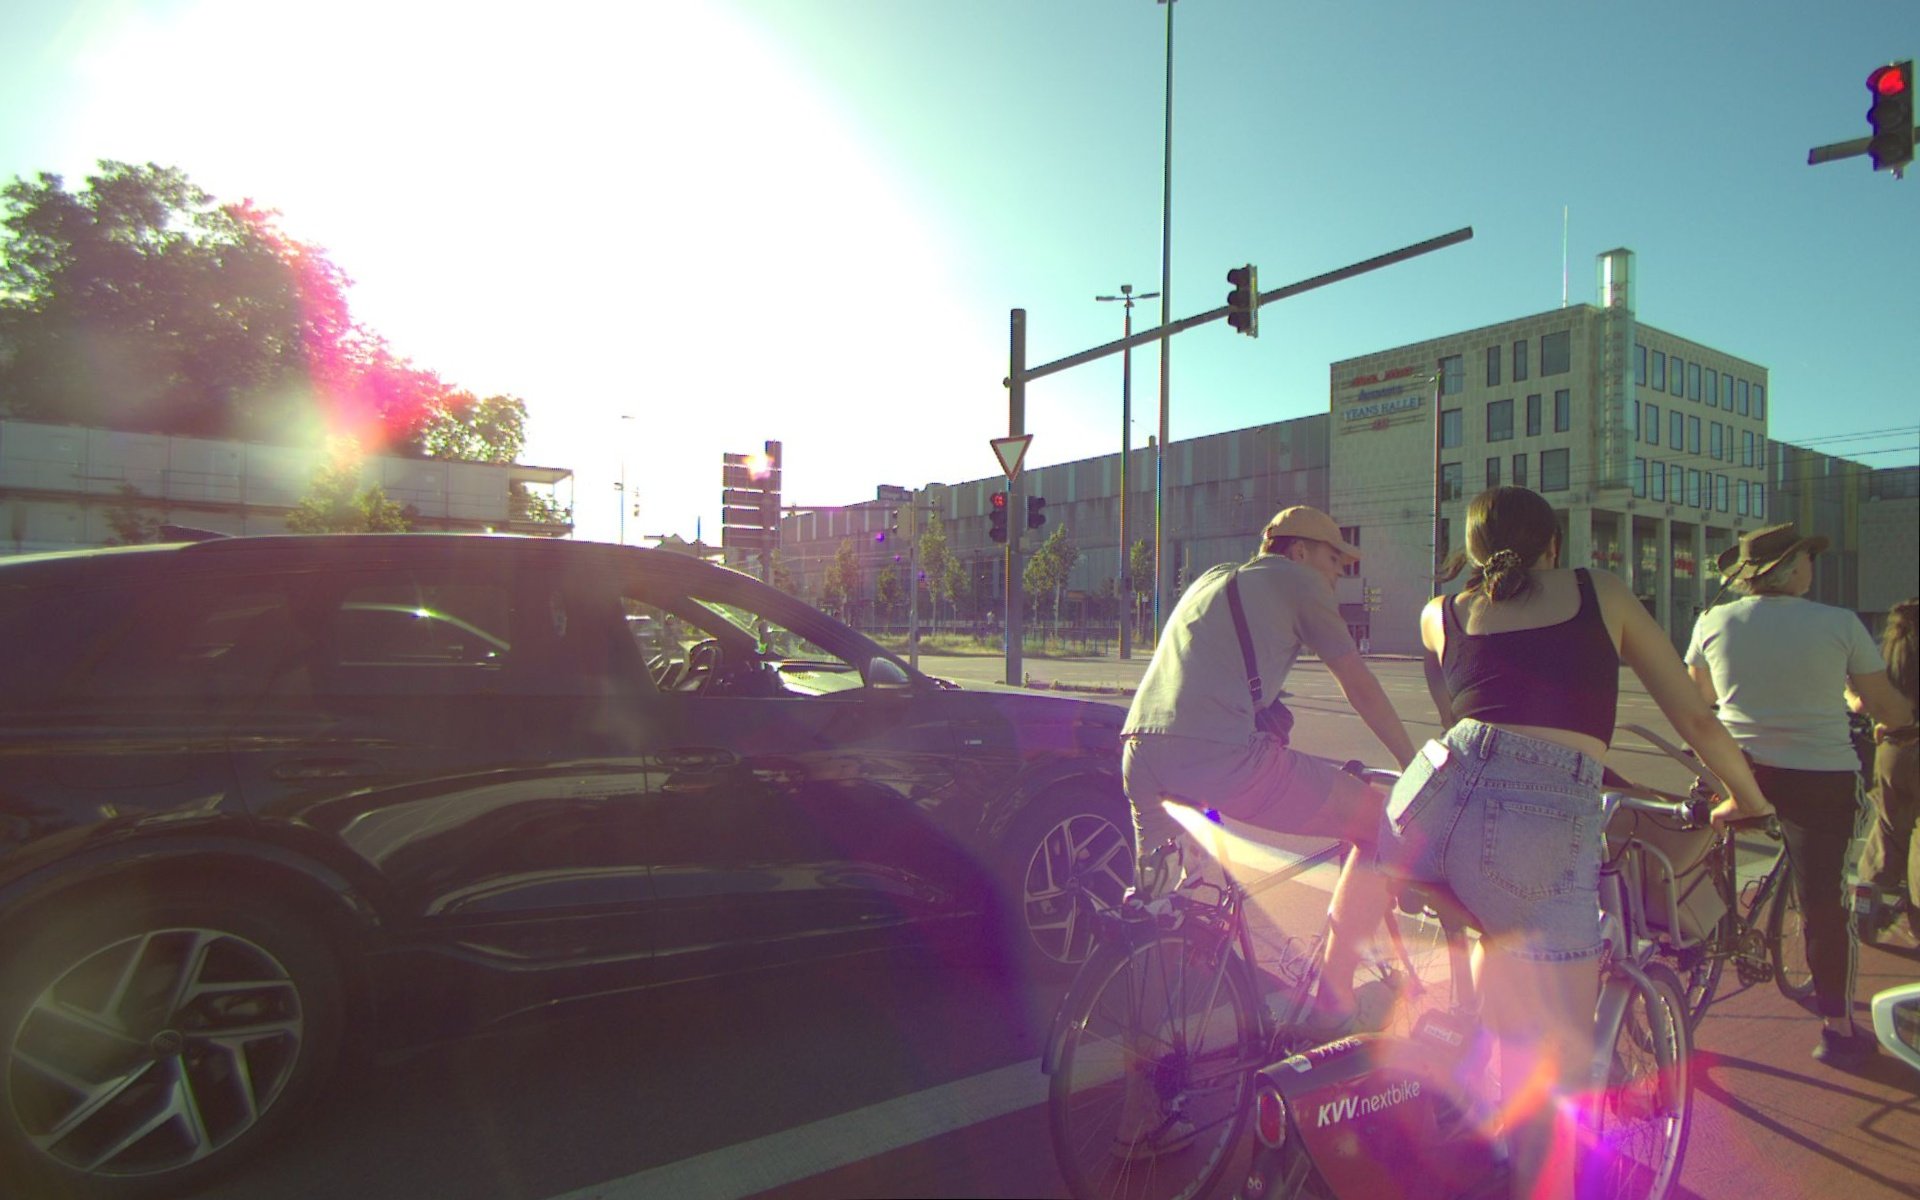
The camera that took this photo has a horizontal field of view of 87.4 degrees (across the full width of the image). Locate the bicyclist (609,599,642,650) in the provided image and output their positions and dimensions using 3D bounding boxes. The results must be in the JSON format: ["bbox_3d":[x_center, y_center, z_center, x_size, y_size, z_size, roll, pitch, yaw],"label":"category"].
[{"bbox_3d":[-9.548,0.688,28.702,0.829,1.420,0.803,0,0,-15],"label":"bicyclist"}]

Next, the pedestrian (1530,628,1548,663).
[{"bbox_3d":[34.494,2.705,59.868,0.900,2.040,1.022,0,-1,28],"label":"pedestrian"}]

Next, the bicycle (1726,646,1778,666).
[{"bbox_3d":[48.743,3.435,61.840,0.675,1.125,2.458,1,-2,-28],"label":"bicycle"}]

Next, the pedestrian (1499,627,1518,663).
[{"bbox_3d":[33.237,2.705,60.892,0.884,2.152,0.943,0,-1,38],"label":"pedestrian"}]

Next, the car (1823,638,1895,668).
[{"bbox_3d":[49.838,2.903,55.675,4.247,1.602,1.927,1,-2,-32],"label":"car"}]

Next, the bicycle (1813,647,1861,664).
[{"bbox_3d":[61.254,3.874,70.214,0.652,1.125,2.458,1,-2,-28],"label":"bicycle"}]

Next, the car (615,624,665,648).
[{"bbox_3d":[-20.254,2.240,63.445,1.980,1.394,3.962,0,-1,-34],"label":"car"}]

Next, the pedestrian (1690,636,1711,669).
[{"bbox_3d":[40.876,2.885,55.439,0.748,1.763,0.746,1,-1,-32],"label":"pedestrian"}]

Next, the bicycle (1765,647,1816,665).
[{"bbox_3d":[53.867,3.622,65.196,0.824,1.125,2.458,1,-2,-28],"label":"bicycle"}]

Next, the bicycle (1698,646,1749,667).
[{"bbox_3d":[45.696,3.370,60.164,0.650,1.127,2.391,1,-2,-29],"label":"bicycle"}]

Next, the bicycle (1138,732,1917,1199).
[{"bbox_3d":[1.264,0.903,2.108,1.780,1.108,0.647,1,-1,-32],"label":"bicycle"}]

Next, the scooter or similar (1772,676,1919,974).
[{"bbox_3d":[4.557,0.993,4.791,1.468,1.191,0.638,1,0,-33],"label":"scooter or similar"}]

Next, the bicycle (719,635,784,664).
[{"bbox_3d":[-7.245,1.701,34.917,2.055,0.939,0.798,0,-1,-34],"label":"bicycle"}]

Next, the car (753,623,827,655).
[{"bbox_3d":[-7.988,1.807,47.041,1.980,1.394,3.962,0,-1,-34],"label":"car"}]

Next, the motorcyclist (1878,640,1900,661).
[{"bbox_3d":[67.619,3.665,73.126,0.908,1.490,1.029,2,0,-37],"label":"motorcyclist"}]

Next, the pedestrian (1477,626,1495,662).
[{"bbox_3d":[32.265,2.678,61.583,0.883,2.152,0.944,0,-1,34],"label":"pedestrian"}]

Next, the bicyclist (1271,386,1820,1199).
[{"bbox_3d":[1.179,0.461,2.055,0.837,1.563,0.647,1,-1,-31],"label":"bicyclist"}]

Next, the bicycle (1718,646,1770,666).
[{"bbox_3d":[48.010,3.423,61.515,0.675,1.125,2.459,1,-2,-27],"label":"bicycle"}]

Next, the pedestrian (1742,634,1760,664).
[{"bbox_3d":[55.381,3.421,70.330,0.933,2.008,1.004,0,-1,36],"label":"pedestrian"}]

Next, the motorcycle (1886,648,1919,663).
[{"bbox_3d":[70.685,4.170,74.644,0.908,1.009,2.649,2,0,-36],"label":"motorcycle"}]

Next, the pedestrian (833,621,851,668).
[{"bbox_3d":[-4.061,1.529,34.623,0.446,1.587,0.516,1,-1,-30],"label":"pedestrian"}]

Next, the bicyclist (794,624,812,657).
[{"bbox_3d":[-6.161,1.577,39.480,0.627,1.287,0.803,0,0,-14],"label":"bicyclist"}]

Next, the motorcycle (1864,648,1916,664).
[{"bbox_3d":[67.665,4.070,73.067,0.908,1.009,2.649,2,0,-36],"label":"motorcycle"}]

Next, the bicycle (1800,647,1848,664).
[{"bbox_3d":[59.142,3.797,68.767,0.652,1.125,2.458,1,-2,-28],"label":"bicycle"}]

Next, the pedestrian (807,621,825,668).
[{"bbox_3d":[-4.880,1.504,33.993,0.446,1.587,0.516,1,-1,-30],"label":"pedestrian"}]

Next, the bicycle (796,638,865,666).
[{"bbox_3d":[-4.698,1.875,36.386,2.362,0.953,0.752,1,-1,-25],"label":"bicycle"}]

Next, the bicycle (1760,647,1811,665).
[{"bbox_3d":[53.187,3.599,64.724,0.675,1.125,2.458,1,-2,-28],"label":"bicycle"}]

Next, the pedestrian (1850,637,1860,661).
[{"bbox_3d":[79.875,4.367,89.622,0.475,2.040,0.610,2,0,-44],"label":"pedestrian"}]

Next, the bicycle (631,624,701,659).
[{"bbox_3d":[-8.709,1.214,29.830,1.945,1.010,0.647,0,-1,-14],"label":"bicycle"}]

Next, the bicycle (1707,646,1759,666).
[{"bbox_3d":[46.828,3.396,60.864,0.676,1.125,2.457,1,-2,-29],"label":"bicycle"}]

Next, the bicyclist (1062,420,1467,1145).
[{"bbox_3d":[0.819,0.413,2.716,0.884,1.596,0.620,1,-1,-31],"label":"bicyclist"}]

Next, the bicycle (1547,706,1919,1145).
[{"bbox_3d":[2.928,0.990,3.580,1.780,1.108,0.703,1,-1,-32],"label":"bicycle"}]

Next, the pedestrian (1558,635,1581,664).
[{"bbox_3d":[35.380,2.862,58.319,0.988,1.672,0.948,1,-1,22],"label":"pedestrian"}]

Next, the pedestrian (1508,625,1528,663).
[{"bbox_3d":[32.473,2.550,58.468,0.881,2.152,0.946,0,-1,24],"label":"pedestrian"}]

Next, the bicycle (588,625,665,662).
[{"bbox_3d":[-9.508,1.232,28.707,2.042,0.991,0.803,0,0,-15],"label":"bicycle"}]

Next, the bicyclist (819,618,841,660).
[{"bbox_3d":[-4.708,1.408,36.381,0.609,1.525,0.752,1,-1,-24],"label":"bicyclist"}]

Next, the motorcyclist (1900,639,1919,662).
[{"bbox_3d":[70.720,3.738,74.630,0.908,1.596,1.129,2,0,-37],"label":"motorcyclist"}]

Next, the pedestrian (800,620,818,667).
[{"bbox_3d":[-5.188,1.498,34.448,0.446,1.587,0.516,1,-1,-30],"label":"pedestrian"}]

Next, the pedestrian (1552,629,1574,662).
[{"bbox_3d":[37.624,2.815,62.692,1.016,2.040,0.906,2,-1,-42],"label":"pedestrian"}]

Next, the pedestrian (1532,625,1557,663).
[{"bbox_3d":[33.917,2.559,58.289,1.042,2.157,1.098,1,-1,18],"label":"pedestrian"}]

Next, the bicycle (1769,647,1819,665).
[{"bbox_3d":[55.456,3.684,66.805,0.824,1.125,2.458,1,-2,-28],"label":"bicycle"}]

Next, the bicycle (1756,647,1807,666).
[{"bbox_3d":[52.559,3.585,64.277,0.675,1.125,2.458,1,-2,-28],"label":"bicycle"}]

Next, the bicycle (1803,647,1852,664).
[{"bbox_3d":[59.742,3.826,69.204,0.652,1.125,2.458,1,-2,-28],"label":"bicycle"}]

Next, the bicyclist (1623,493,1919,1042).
[{"bbox_3d":[2.952,0.527,3.606,0.777,1.691,0.695,1,-1,-32],"label":"bicyclist"}]

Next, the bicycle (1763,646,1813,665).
[{"bbox_3d":[54.438,3.650,66.091,0.675,1.125,2.458,1,-2,-28],"label":"bicycle"}]

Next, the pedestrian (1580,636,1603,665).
[{"bbox_3d":[35.529,2.815,56.504,0.927,1.592,0.841,1,-1,23],"label":"pedestrian"}]

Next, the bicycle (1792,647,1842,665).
[{"bbox_3d":[58.381,3.785,68.430,0.824,1.125,2.458,1,-2,-28],"label":"bicycle"}]

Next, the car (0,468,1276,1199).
[{"bbox_3d":[-1.163,0.609,4.097,4.740,1.684,2.182,1,-1,-33],"label":"car"}]

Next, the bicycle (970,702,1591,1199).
[{"bbox_3d":[0.953,0.900,2.785,1.795,1.131,0.620,1,-1,-31],"label":"bicycle"}]

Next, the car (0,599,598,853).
[{"bbox_3d":[-4.922,0.712,6.677,4.475,1.370,1.762,2,-1,-32],"label":"car"}]

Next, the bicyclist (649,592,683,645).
[{"bbox_3d":[-8.716,0.554,29.841,0.925,1.565,0.647,0,-1,-14],"label":"bicyclist"}]

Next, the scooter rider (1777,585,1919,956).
[{"bbox_3d":[4.429,0.729,4.687,1.105,1.564,0.638,1,0,-33],"label":"scooter rider"}]

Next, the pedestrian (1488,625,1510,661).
[{"bbox_3d":[32.139,2.564,59.905,0.941,2.152,0.886,2,-1,-44],"label":"pedestrian"}]

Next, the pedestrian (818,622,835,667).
[{"bbox_3d":[-4.706,1.555,35.401,0.446,1.587,0.516,1,-1,-30],"label":"pedestrian"}]

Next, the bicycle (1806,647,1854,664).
[{"bbox_3d":[60.283,3.854,69.633,0.623,1.125,2.458,1,-2,-28],"label":"bicycle"}]

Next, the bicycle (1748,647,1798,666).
[{"bbox_3d":[51.497,3.549,63.637,0.586,1.125,2.458,1,-2,-28],"label":"bicycle"}]

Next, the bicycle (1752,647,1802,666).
[{"bbox_3d":[52.002,3.566,63.964,0.531,1.125,2.458,1,-2,-28],"label":"bicycle"}]

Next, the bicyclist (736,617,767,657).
[{"bbox_3d":[-7.250,1.282,34.920,0.833,1.375,0.798,0,0,-33],"label":"bicyclist"}]
